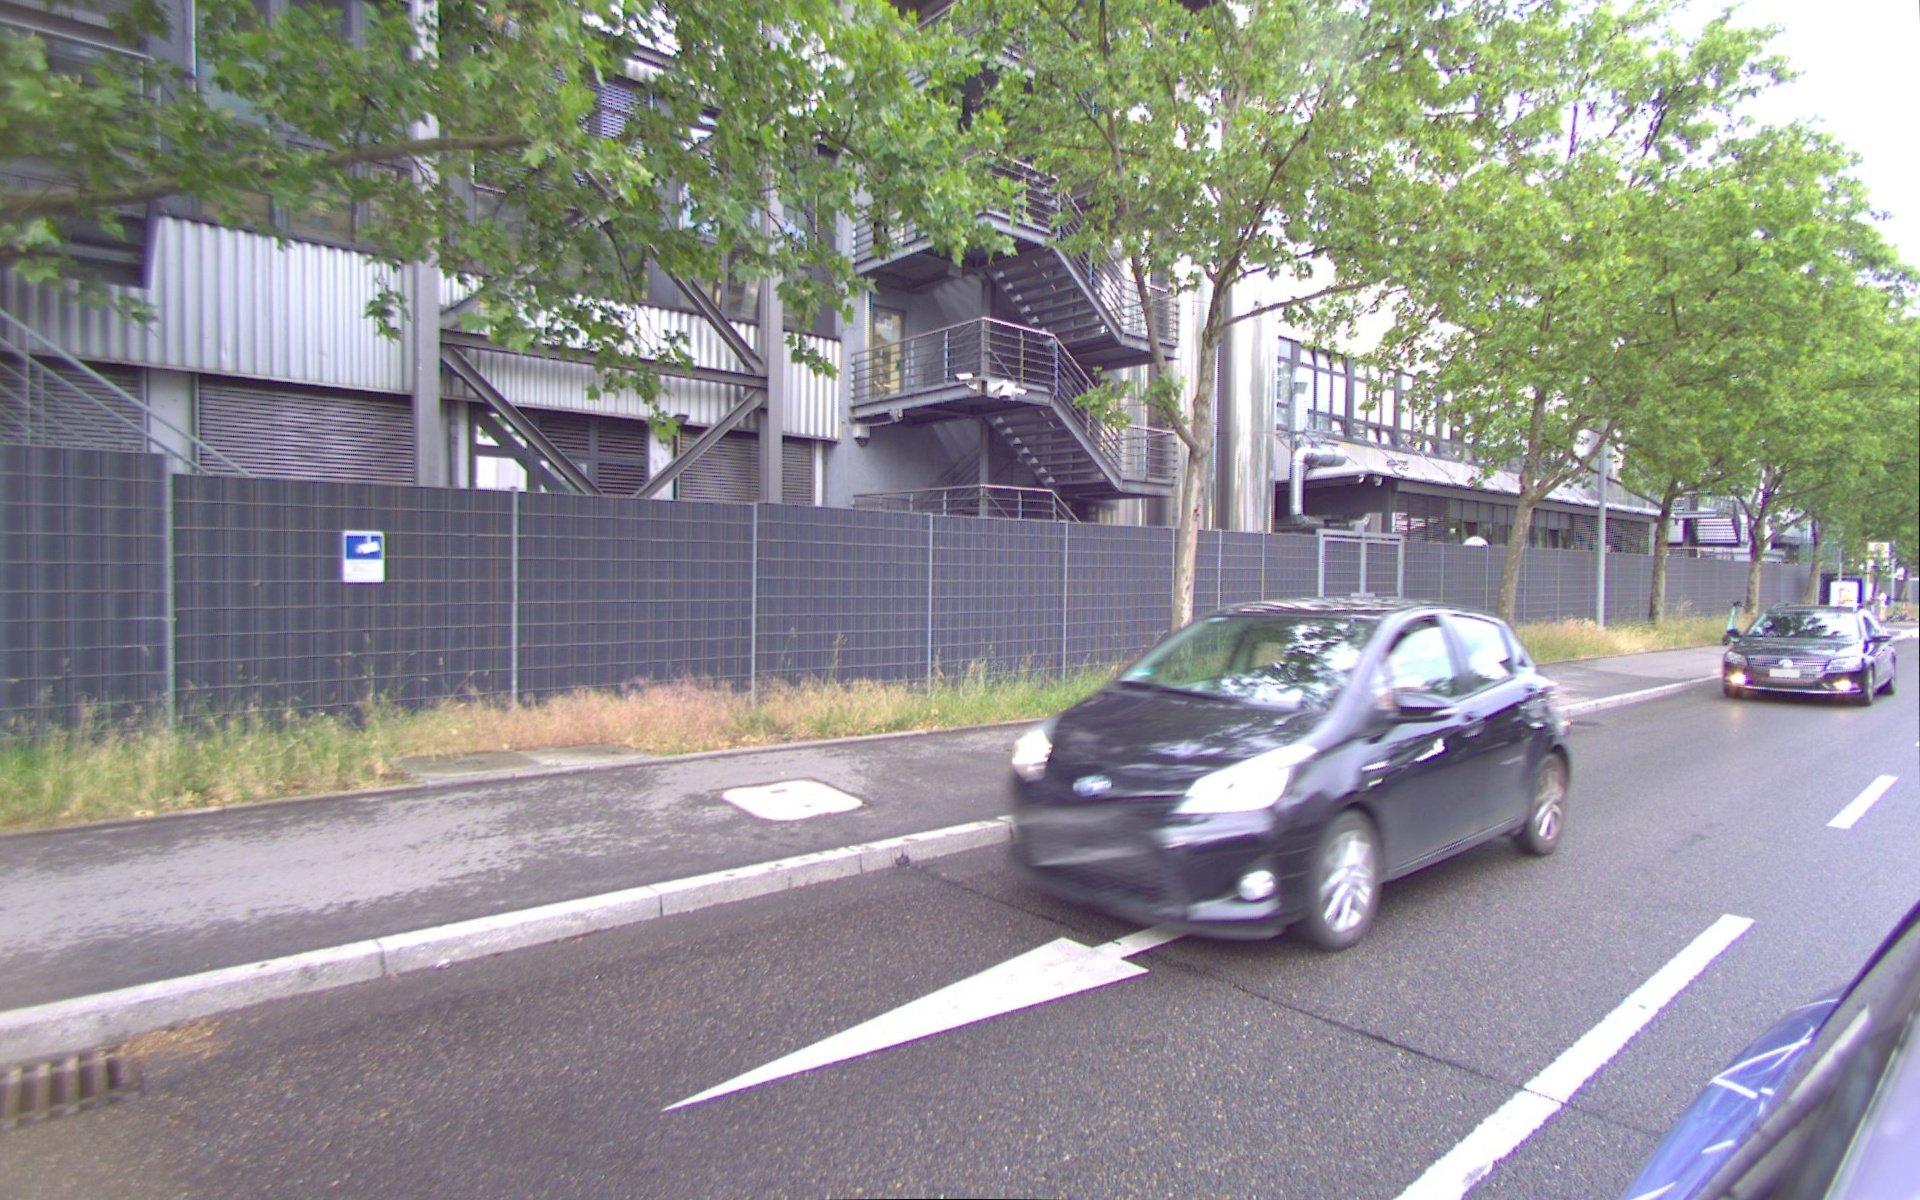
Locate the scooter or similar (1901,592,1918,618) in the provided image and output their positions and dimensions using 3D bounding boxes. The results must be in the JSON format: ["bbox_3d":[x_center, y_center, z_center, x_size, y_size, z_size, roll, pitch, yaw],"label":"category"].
[{"bbox_3d":[49.540,0.236,52.800,1.277,1.311,0.437,0,1,-39],"label":"scooter or similar"}]

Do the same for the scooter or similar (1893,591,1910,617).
[{"bbox_3d":[48.435,0.214,52.035,1.277,1.311,0.437,0,1,-39],"label":"scooter or similar"}]

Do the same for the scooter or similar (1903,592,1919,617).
[{"bbox_3d":[51.033,0.222,54.271,1.277,1.311,0.437,0,1,-39],"label":"scooter or similar"}]

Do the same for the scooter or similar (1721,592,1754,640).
[{"bbox_3d":[20.992,0.422,27.328,1.087,1.285,0.330,0,1,-33],"label":"scooter or similar"}]

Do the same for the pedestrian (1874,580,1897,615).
[{"bbox_3d":[46.465,-0.131,50.797,0.717,1.731,0.777,0,1,-42],"label":"pedestrian"}]

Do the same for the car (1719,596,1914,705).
[{"bbox_3d":[13.648,0.679,16.025,4.705,1.471,1.840,0,0,-43],"label":"car"}]

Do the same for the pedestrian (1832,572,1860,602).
[{"bbox_3d":[43.057,-0.630,49.164,0.686,1.433,0.932,0,2,-42],"label":"pedestrian"}]

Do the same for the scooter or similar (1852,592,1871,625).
[{"bbox_3d":[37.373,0.344,41.946,1.222,1.325,0.329,0,1,-37],"label":"scooter or similar"}]

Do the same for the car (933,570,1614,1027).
[{"bbox_3d":[1.957,0.649,5.529,4.010,1.512,1.877,0,3,-45],"label":"car"}]

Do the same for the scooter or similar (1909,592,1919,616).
[{"bbox_3d":[52.543,0.211,55.480,1.341,1.311,0.437,0,1,-34],"label":"scooter or similar"}]
